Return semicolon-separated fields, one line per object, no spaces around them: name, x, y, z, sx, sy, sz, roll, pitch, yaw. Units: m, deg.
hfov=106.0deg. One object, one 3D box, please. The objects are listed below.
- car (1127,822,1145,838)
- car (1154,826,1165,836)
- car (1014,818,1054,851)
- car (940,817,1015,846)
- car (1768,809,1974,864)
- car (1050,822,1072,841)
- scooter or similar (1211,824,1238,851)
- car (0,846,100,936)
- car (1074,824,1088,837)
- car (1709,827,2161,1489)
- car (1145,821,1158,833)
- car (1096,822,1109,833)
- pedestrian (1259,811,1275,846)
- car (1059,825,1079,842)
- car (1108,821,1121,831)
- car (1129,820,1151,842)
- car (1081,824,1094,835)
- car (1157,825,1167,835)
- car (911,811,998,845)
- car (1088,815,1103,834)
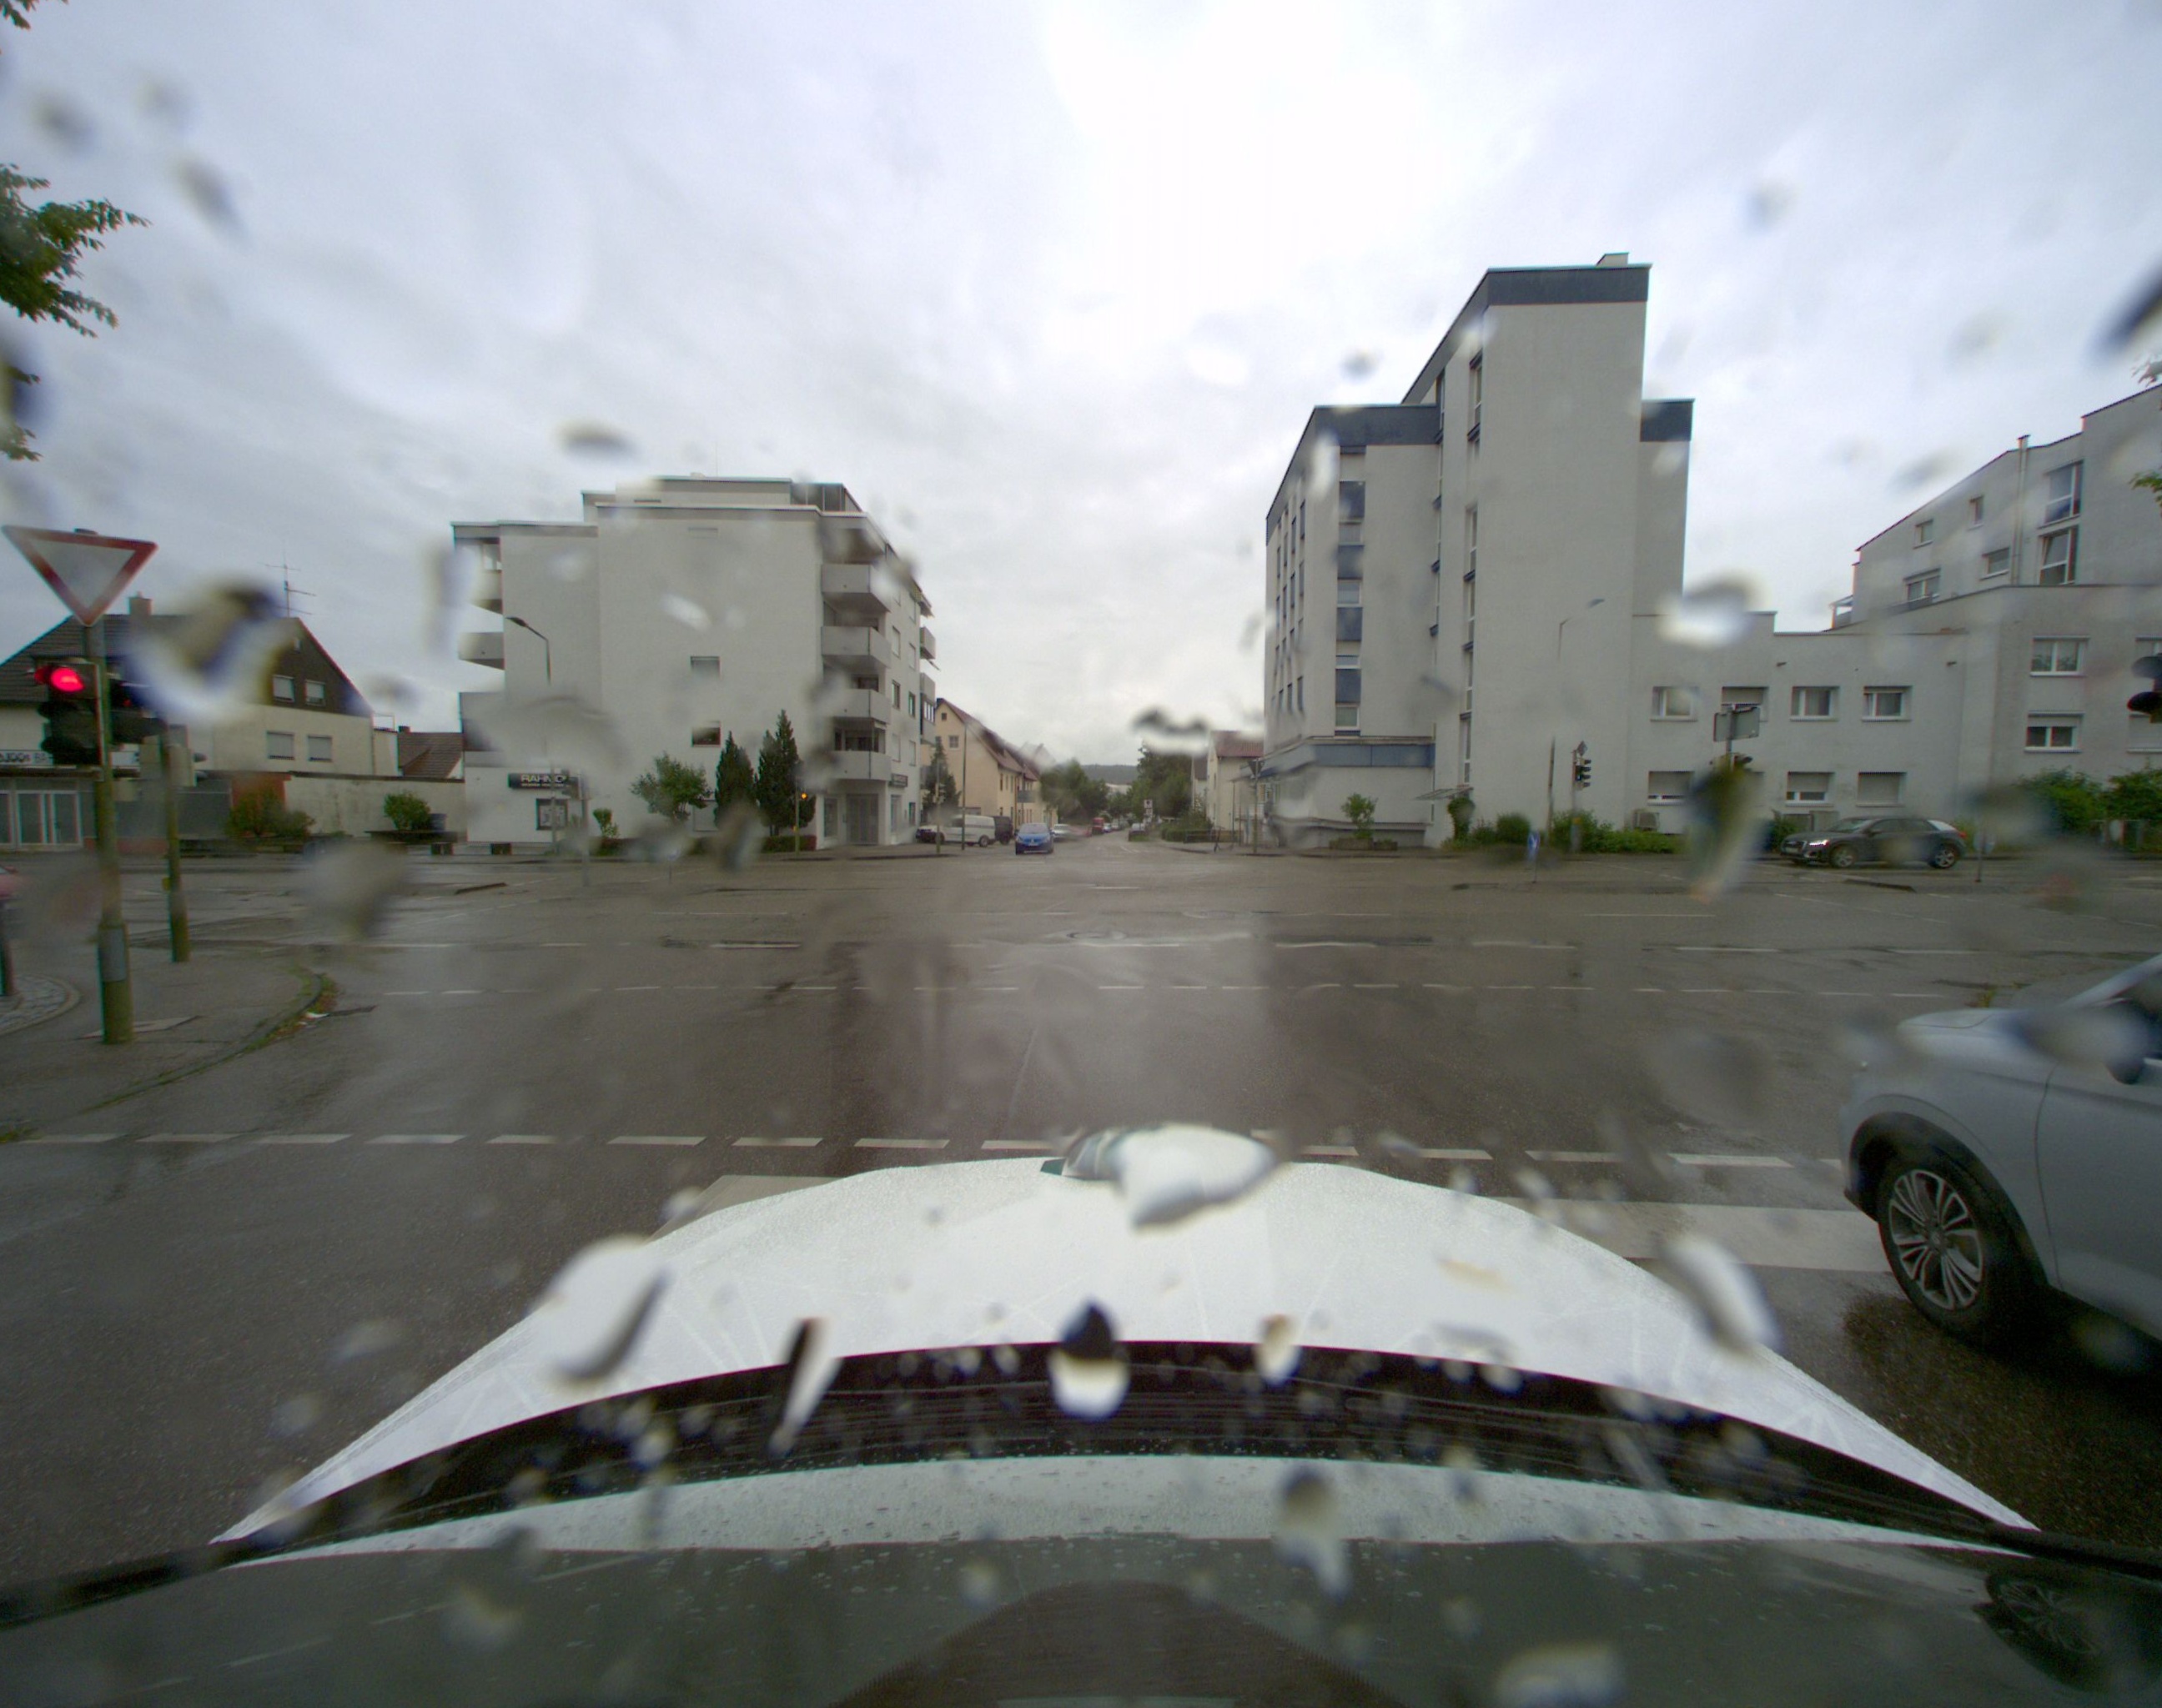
car;7.042;-3.032;103.663;1.983;2.013;4.009;-1;1;7
car;15.611;-4.627;161.813;1.983;2.013;4.009;-1;1;7
car;-2.233;-0.911;39.630;1.762;1.445;3.998;0;-1;-1
car;-6.978;-1.546;55.058;4.644;1.888;1.941;-2;2;-37
car;23.254;-0.530;24.128;4.110;1.485;1.748;-1;4;10
car;-1.640;-1.852;68.100;1.761;1.523;4.000;-1;2;0
scooter or similar;6.772;-0.779;38.562;1.058;1.227;0.799;0;-1;-8
car;-21.753;0.699;15.433;4.074;1.505;1.783;0;6;2
car;-0.023;-3.013;104.600;1.762;1.518;3.999;-1;2;-1
car;3.369;0.727;1.692;1.678;1.554;3.919;-1;2;10
car;11.915;-4.553;137.396;1.983;2.013;4.009;-1;1;7
car;3.691;-4.546;138.988;1.983;1.684;4.008;0;-1;7
pedestrian;9.033;-1.243;39.543;0.652;1.652;0.646;0;-1;2
car;-1.145;-2.017;79.496;1.760;1.518;4.197;-1;2;2
car;6.314;-5.349;154.830;1.982;1.706;4.010;-1;-1;9
car;5.900;-2.261;81.645;1.983;2.014;4.008;0;-1;7
car;0.878;-3.413;112.532;1.762;1.518;3.999;-1;2;-1
car;16.887;-4.934;170.295;1.983;2.013;4.009;-1;1;7
car;-7.416;-1.474;47.952;4.751;1.778;1.753;2;-1;-37
car;2.277;-4.581;127.482;2.208;2.768;5.728;-1;1;2
